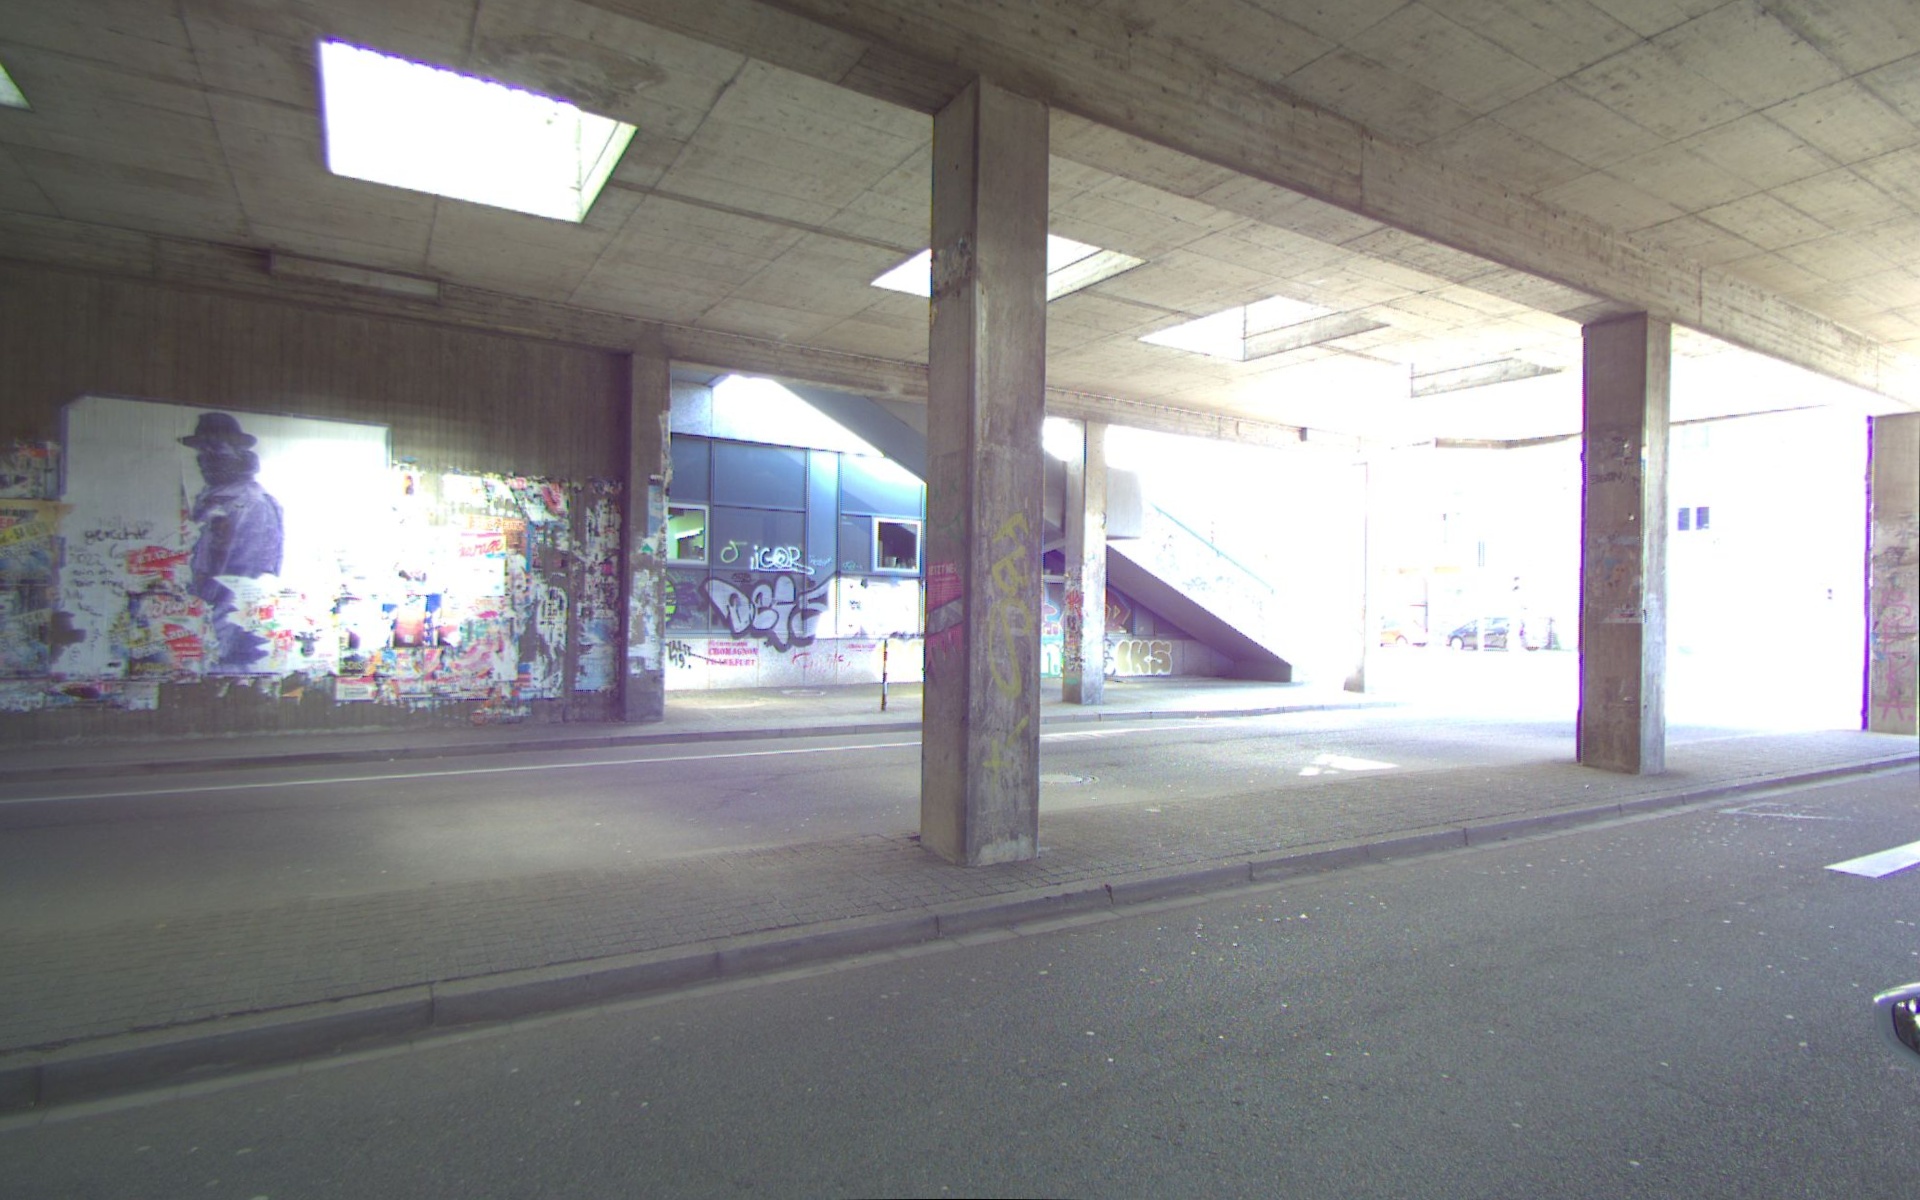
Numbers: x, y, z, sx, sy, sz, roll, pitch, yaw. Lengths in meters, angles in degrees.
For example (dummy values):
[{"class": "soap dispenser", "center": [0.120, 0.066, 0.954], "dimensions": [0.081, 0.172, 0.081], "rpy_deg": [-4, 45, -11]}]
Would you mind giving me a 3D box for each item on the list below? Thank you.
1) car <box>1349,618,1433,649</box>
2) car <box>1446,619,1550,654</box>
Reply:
[{"class": "car", "center": [22.548, 1.717, 52.608], "dimensions": [1.730, 1.495, 3.741], "rpy_deg": [2, -1, -31]}, {"class": "car", "center": [25.460, 1.702, 47.653], "dimensions": [1.718, 1.495, 4.089], "rpy_deg": [2, -1, -31]}]
